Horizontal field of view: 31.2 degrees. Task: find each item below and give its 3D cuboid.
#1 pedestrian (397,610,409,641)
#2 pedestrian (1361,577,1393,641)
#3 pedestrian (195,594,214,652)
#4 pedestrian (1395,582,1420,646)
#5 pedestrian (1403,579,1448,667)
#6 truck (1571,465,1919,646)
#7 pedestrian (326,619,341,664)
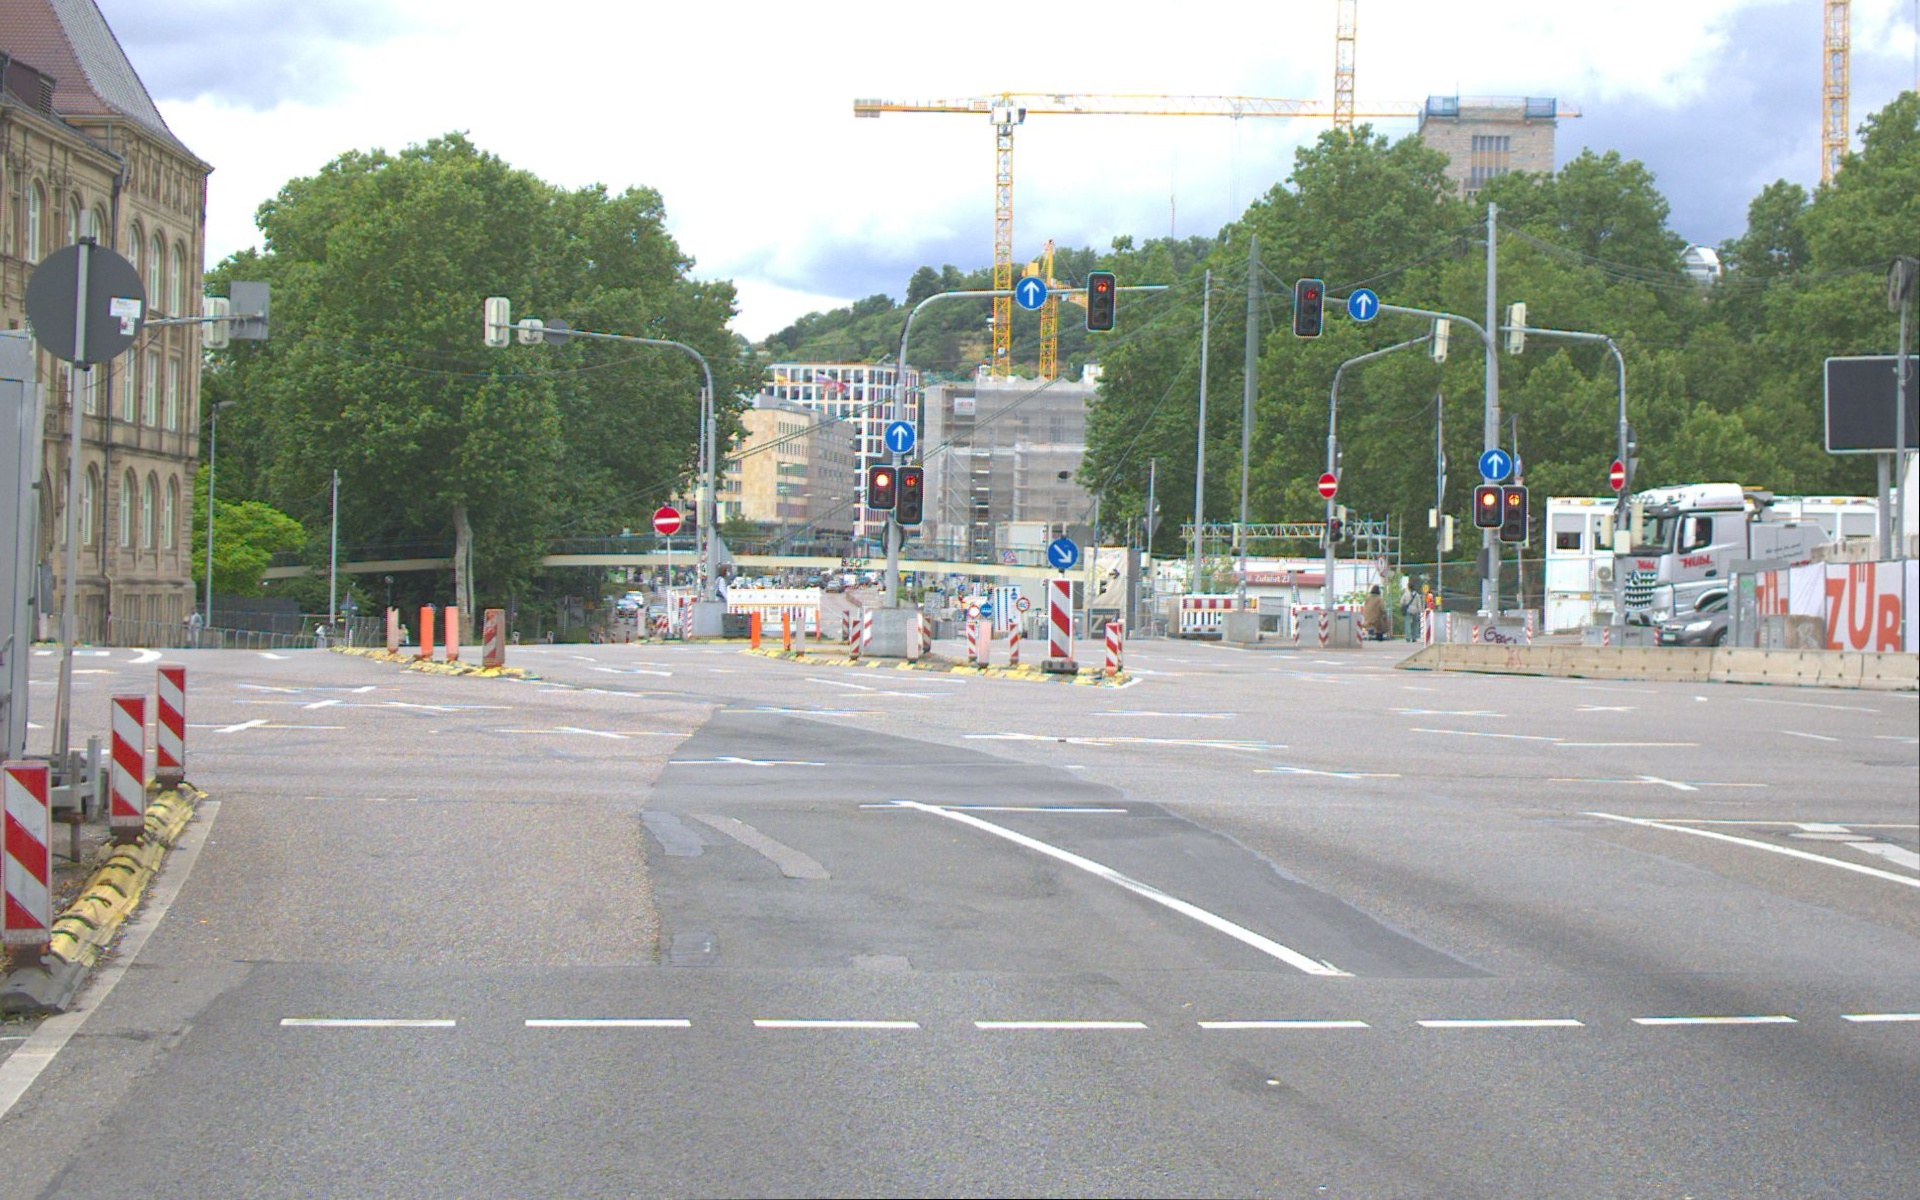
[{"bbox_3d":[-28.716,1.329,177.088,0.536,1.587,0.516,1,1,-4],"label":"pedestrian"},{"bbox_3d":[11.098,0.230,91.553,0.729,1.683,0.678,1,1,-1],"label":"pedestrian"},{"bbox_3d":[-26.507,0.805,120.658,0.524,2.007,0.567,1,1,0],"label":"pedestrian"},{"bbox_3d":[11.926,0.374,91.623,0.566,1.683,0.472,1,1,-1],"label":"pedestrian"},{"bbox_3d":[9.135,0.452,67.517,0.729,1.683,0.678,1,1,-1],"label":"pedestrian"},{"bbox_3d":[21.363,-1.002,82.014,13.022,4.027,3.952,1,1,-20],"label":"truck"},{"bbox_3d":[-28.145,1.855,154.380,0.524,2.007,0.567,1,1,0],"label":"pedestrian"}]
